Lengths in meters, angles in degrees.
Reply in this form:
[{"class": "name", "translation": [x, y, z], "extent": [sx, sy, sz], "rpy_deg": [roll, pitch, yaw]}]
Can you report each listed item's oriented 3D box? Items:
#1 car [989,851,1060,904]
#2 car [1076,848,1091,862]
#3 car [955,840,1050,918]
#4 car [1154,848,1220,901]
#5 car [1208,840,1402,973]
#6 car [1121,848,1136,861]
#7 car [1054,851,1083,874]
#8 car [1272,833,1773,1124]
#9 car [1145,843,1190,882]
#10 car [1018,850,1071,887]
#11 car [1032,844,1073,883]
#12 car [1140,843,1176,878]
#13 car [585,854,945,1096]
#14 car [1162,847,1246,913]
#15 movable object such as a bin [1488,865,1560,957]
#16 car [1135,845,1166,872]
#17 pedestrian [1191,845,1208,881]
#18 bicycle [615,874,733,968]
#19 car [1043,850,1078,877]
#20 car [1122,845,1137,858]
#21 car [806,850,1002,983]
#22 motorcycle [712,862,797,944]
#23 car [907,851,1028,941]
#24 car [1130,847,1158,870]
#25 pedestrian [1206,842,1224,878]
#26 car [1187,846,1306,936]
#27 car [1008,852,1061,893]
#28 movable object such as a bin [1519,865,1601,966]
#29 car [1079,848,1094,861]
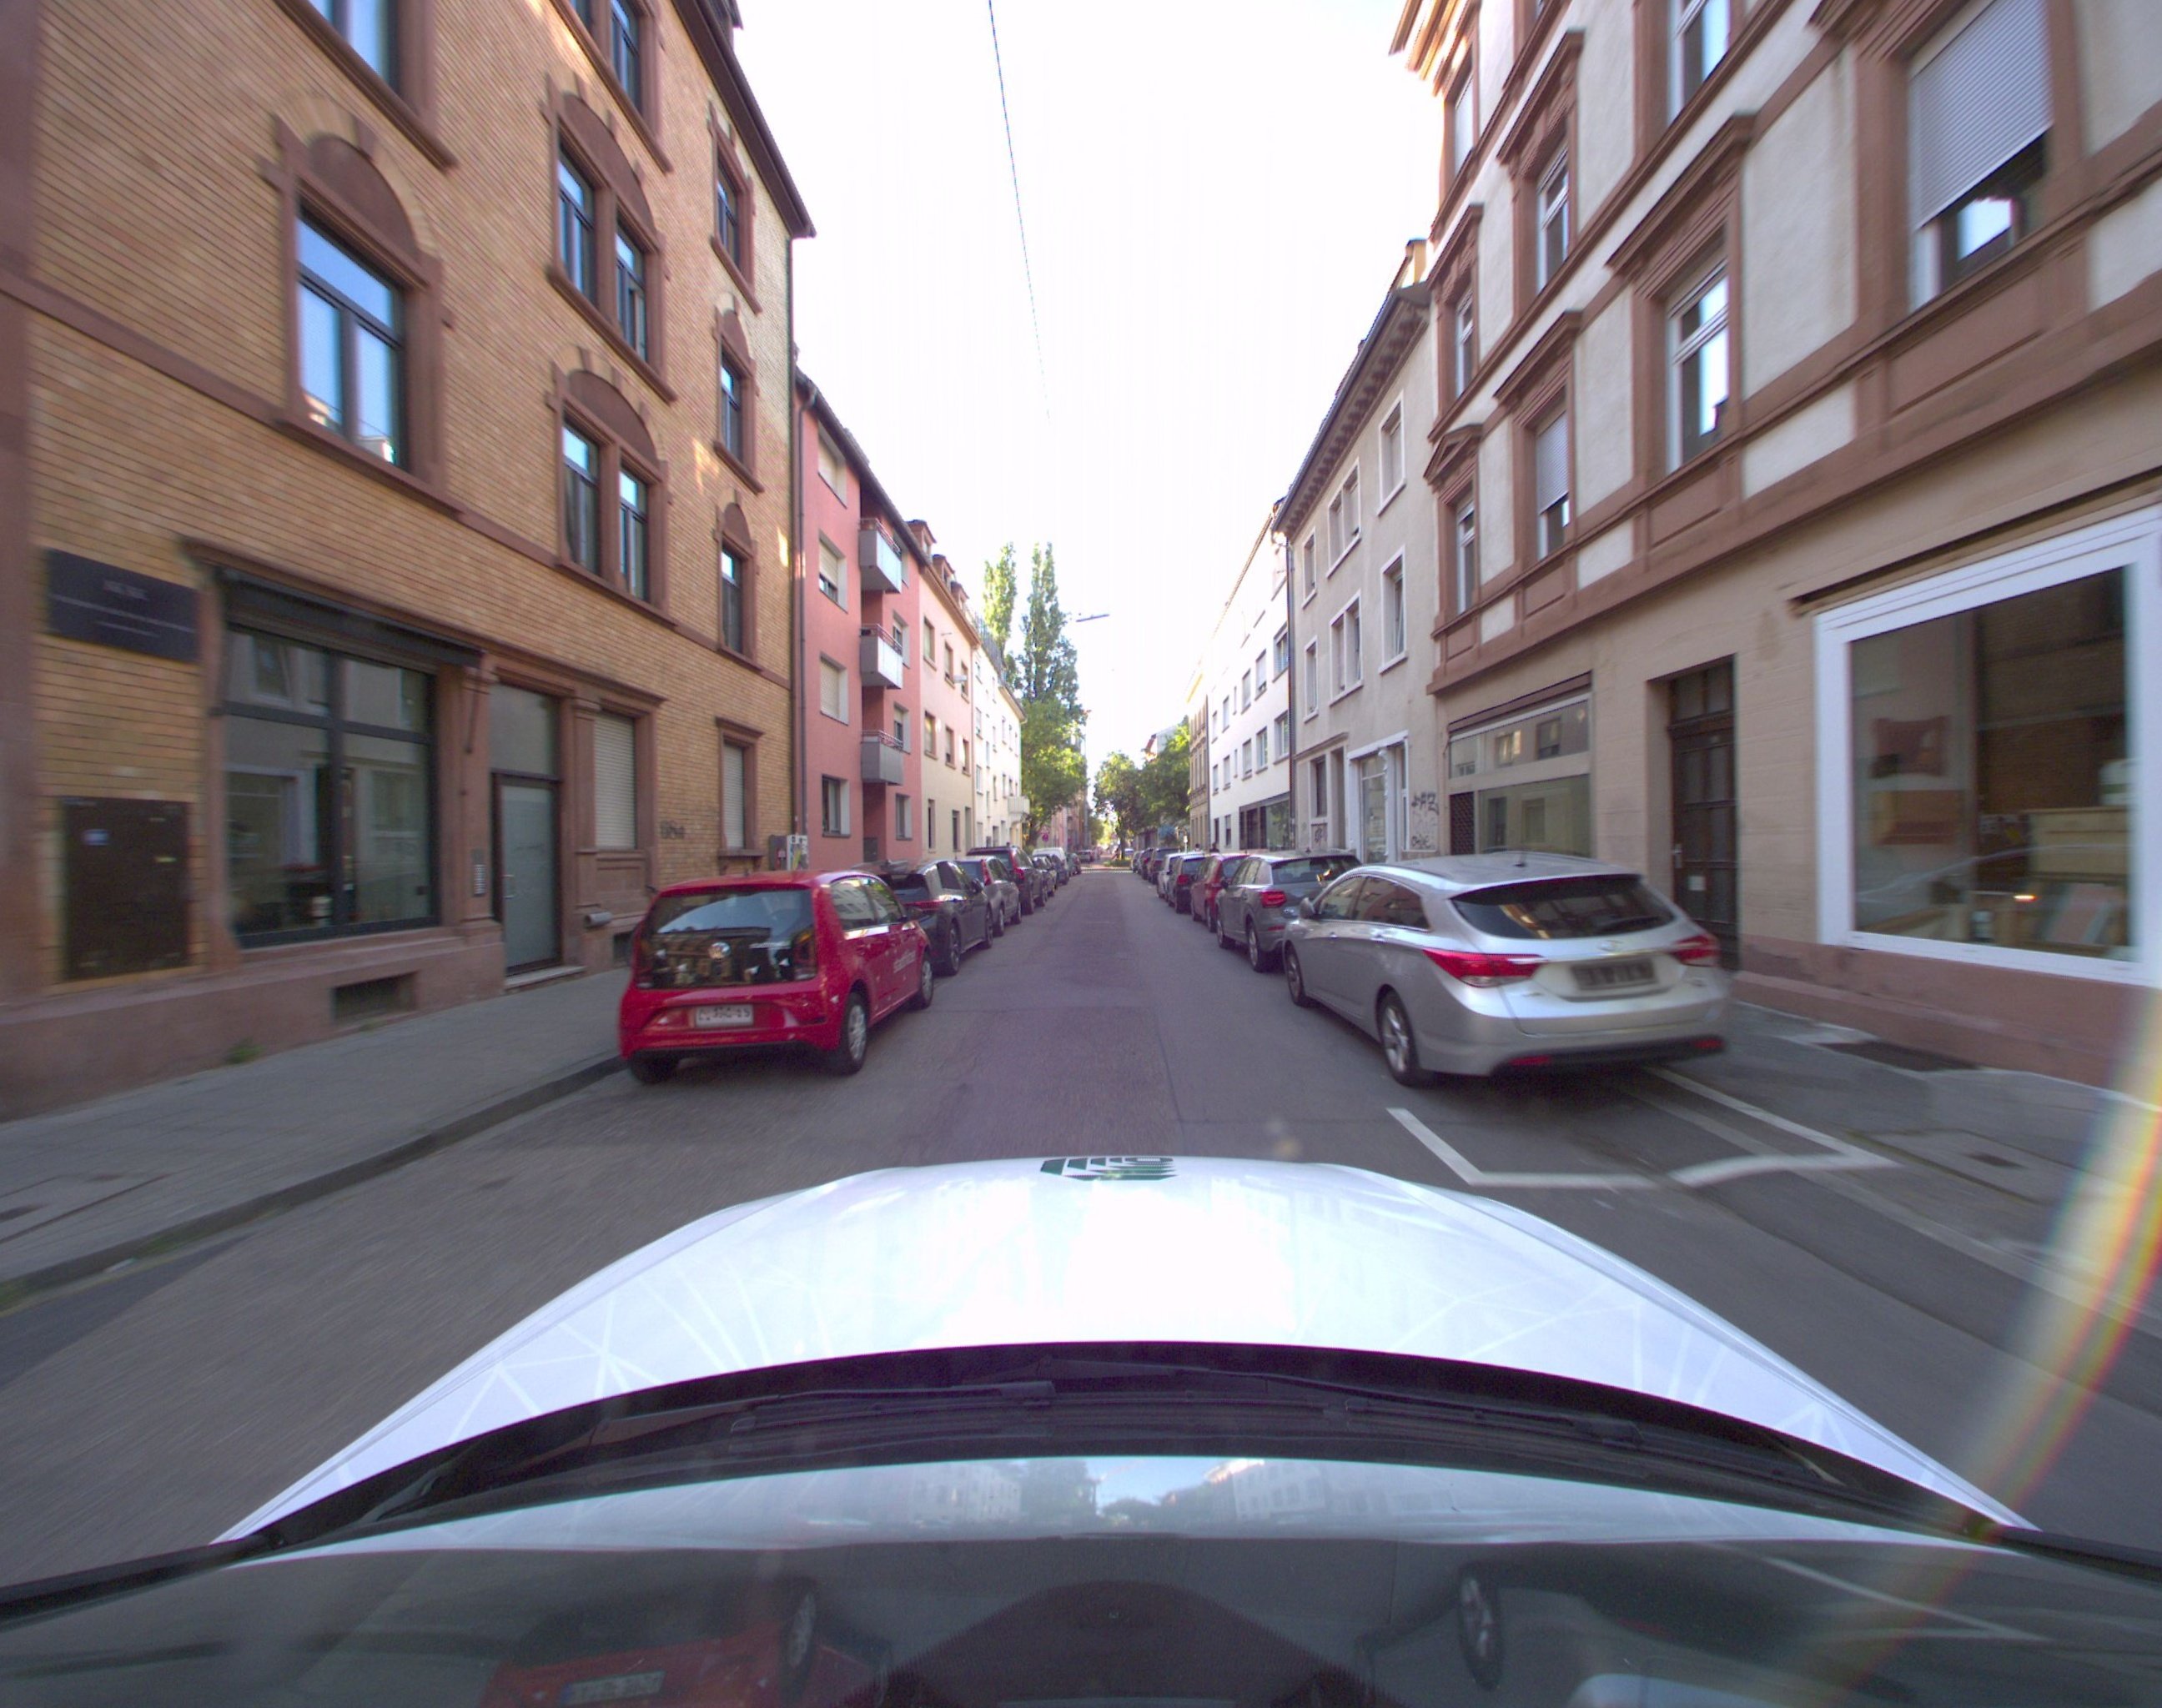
[{"class": "car", "translation": [-1.821, 0.717, 27.482], "extent": [1.736, 1.506, 4.351], "rpy_deg": [-3, 1, 4]}, {"class": "car", "translation": [0.323, 0.086, 95.580], "extent": [1.670, 1.487, 4.096], "rpy_deg": [-3, 1, 1]}, {"class": "car", "translation": [-1.997, 0.573, 22.121], "extent": [1.736, 1.811, 4.677], "rpy_deg": [-3, 1, 4]}, {"class": "car", "translation": [3.365, 0.599, 26.446], "extent": [1.670, 1.506, 3.938], "rpy_deg": [-3, 1, 1]}, {"class": "car", "translation": [3.010, 0.611, 11.815], "extent": [1.737, 1.506, 4.022], "rpy_deg": [-3, 1, 1]}, {"class": "car", "translation": [5.642, 0.057, 96.852], "extent": [1.670, 1.487, 3.639], "rpy_deg": [-3, 0, 1]}, {"class": "car", "translation": [-0.794, 0.560, 54.518], "extent": [1.664, 1.361, 4.050], "rpy_deg": [-3, 1, 2]}, {"class": "car", "translation": [2.924, 0.658, 6.630], "extent": [1.737, 1.506, 4.359], "rpy_deg": [-3, 1, 1]}, {"class": "car", "translation": [4.029, 0.361, 38.474], "extent": [1.670, 1.627, 4.252], "rpy_deg": [-5, 0, 1]}, {"class": "car", "translation": [-1.583, 0.606, 36.905], "extent": [1.664, 1.486, 4.000], "rpy_deg": [-3, 1, 7]}, {"class": "car", "translation": [-1.422, 0.452, 41.579], "extent": [1.759, 1.785, 4.040], "rpy_deg": [-3, 0, 1]}, {"class": "car", "translation": [4.083, 0.325, 43.432], "extent": [1.669, 1.681, 4.098], "rpy_deg": [-3, 0, 3]}, {"class": "car", "translation": [-2.388, 0.800, 7.188], "extent": [1.622, 1.481, 3.602], "rpy_deg": [-3, 0, 1]}, {"class": "car", "translation": [3.186, 0.604, 21.721], "extent": [1.670, 1.506, 3.938], "rpy_deg": [-3, 1, 1]}, {"class": "movable object such as a bin", "translation": [5.311, 0.666, 9.782], "extent": [0.512, 1.039, 0.594], "rpy_deg": [-3, 0, 2]}, {"class": "car", "translation": [4.488, 0.264, 52.947], "extent": [1.670, 1.561, 3.797], "rpy_deg": [-3, 0, 1]}, {"class": "pedestrian", "translation": [5.541, 0.432, 38.176], "extent": [0.683, 1.660, 0.718], "rpy_deg": [-2, 0, 1]}, {"class": "bicycle", "translation": [-5.434, 0.848, 11.006], "extent": [0.531, 1.074, 1.892], "rpy_deg": [3, 1, 2]}, {"class": "car", "translation": [-1.201, 0.568, 50.315], "extent": [1.662, 1.469, 3.826], "rpy_deg": [-3, 1, 5]}, {"class": "car", "translation": [6.138, -0.319, 103.267], "extent": [1.670, 1.487, 3.639], "rpy_deg": [-3, 0, 1]}, {"class": "car", "translation": [-2.384, 0.764, 12.083], "extent": [1.688, 1.521, 4.100], "rpy_deg": [-3, 1, 4]}, {"class": "motorcycle", "translation": [-5.332, 0.764, 13.424], "extent": [0.531, 1.205, 1.910], "rpy_deg": [-1, 0, 2]}, {"class": "car", "translation": [-2.208, 0.769, 16.921], "extent": [1.649, 1.521, 3.948], "rpy_deg": [-3, 1, 4]}, {"class": "car", "translation": [4.458, 0.283, 57.855], "extent": [1.670, 1.487, 4.096], "rpy_deg": [-3, 1, 1]}, {"class": "pedestrian", "translation": [6.296, 0.260, 38.231], "extent": [0.683, 1.660, 0.718], "rpy_deg": [-2, 0, 1]}, {"class": "car", "translation": [3.204, 0.639, 16.555], "extent": [1.592, 1.506, 4.186], "rpy_deg": [-3, 1, 1]}, {"class": "car", "translation": [-1.779, 0.688, 32.514], "extent": [1.667, 1.388, 4.183], "rpy_deg": [-3, 1, 2]}, {"class": "movable object such as a bin", "translation": [5.281, 0.659, 9.005], "extent": [0.512, 1.039, 0.620], "rpy_deg": [-3, 0, 2]}, {"class": "car", "translation": [0.682, 0.059, 100.763], "extent": [1.670, 1.487, 4.096], "rpy_deg": [-3, 1, 1]}]
